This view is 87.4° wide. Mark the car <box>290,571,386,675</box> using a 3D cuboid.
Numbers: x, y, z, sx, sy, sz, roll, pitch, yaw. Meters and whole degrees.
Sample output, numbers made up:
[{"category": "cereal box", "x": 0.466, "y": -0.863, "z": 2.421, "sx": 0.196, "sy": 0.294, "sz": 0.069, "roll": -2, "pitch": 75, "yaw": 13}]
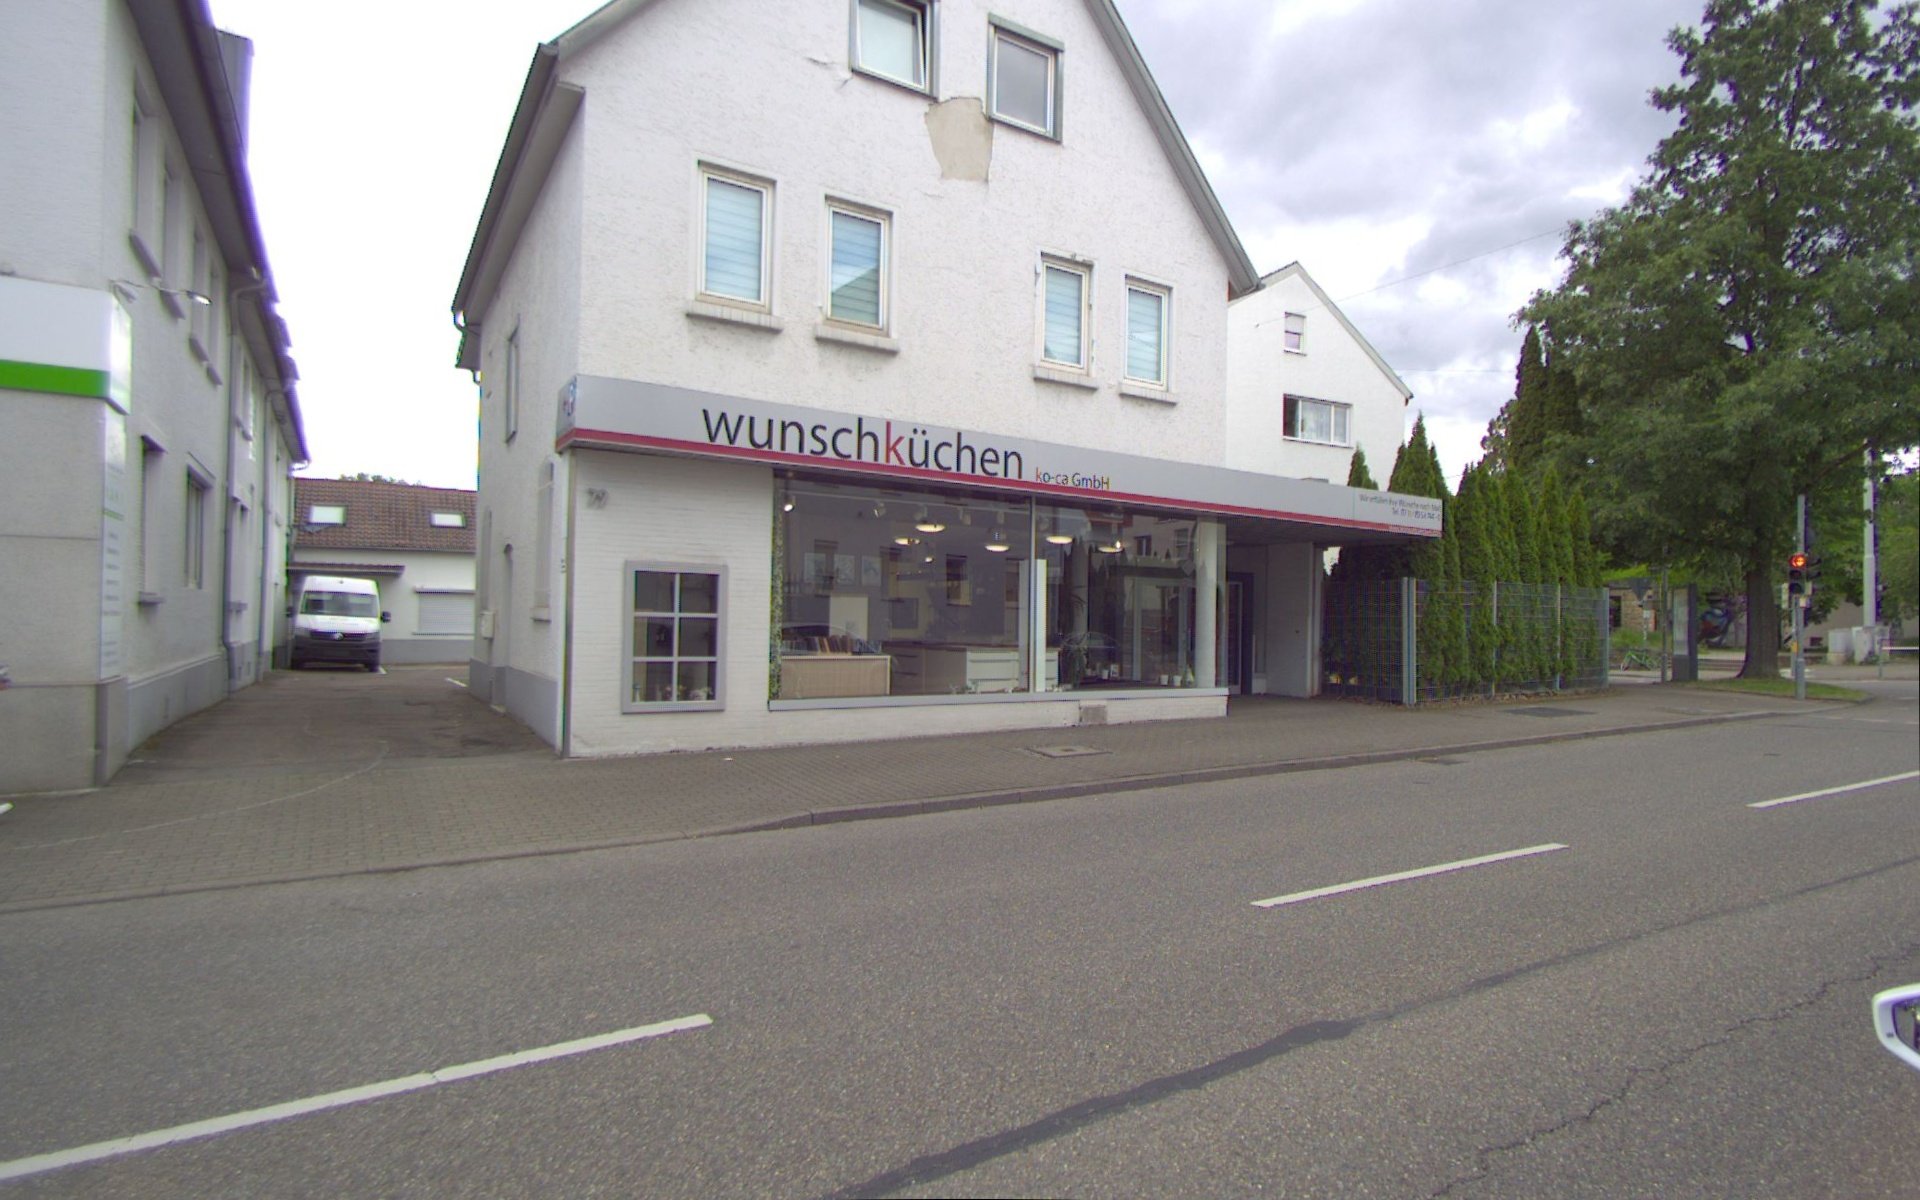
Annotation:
[{"category": "car", "x": -17.441, "y": 0.595, "z": 28.225, "sx": 1.938, "sy": 2.541, "sz": 5.943, "roll": 4, "pitch": -2, "yaw": -32}]

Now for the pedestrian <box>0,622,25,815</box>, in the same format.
[{"category": "pedestrian", "x": -6.908, "y": 0.810, "z": 6.847, "sx": 0.647, "sy": 1.297, "sz": 0.596, "roll": 1, "pitch": 1, "yaw": -31}]
